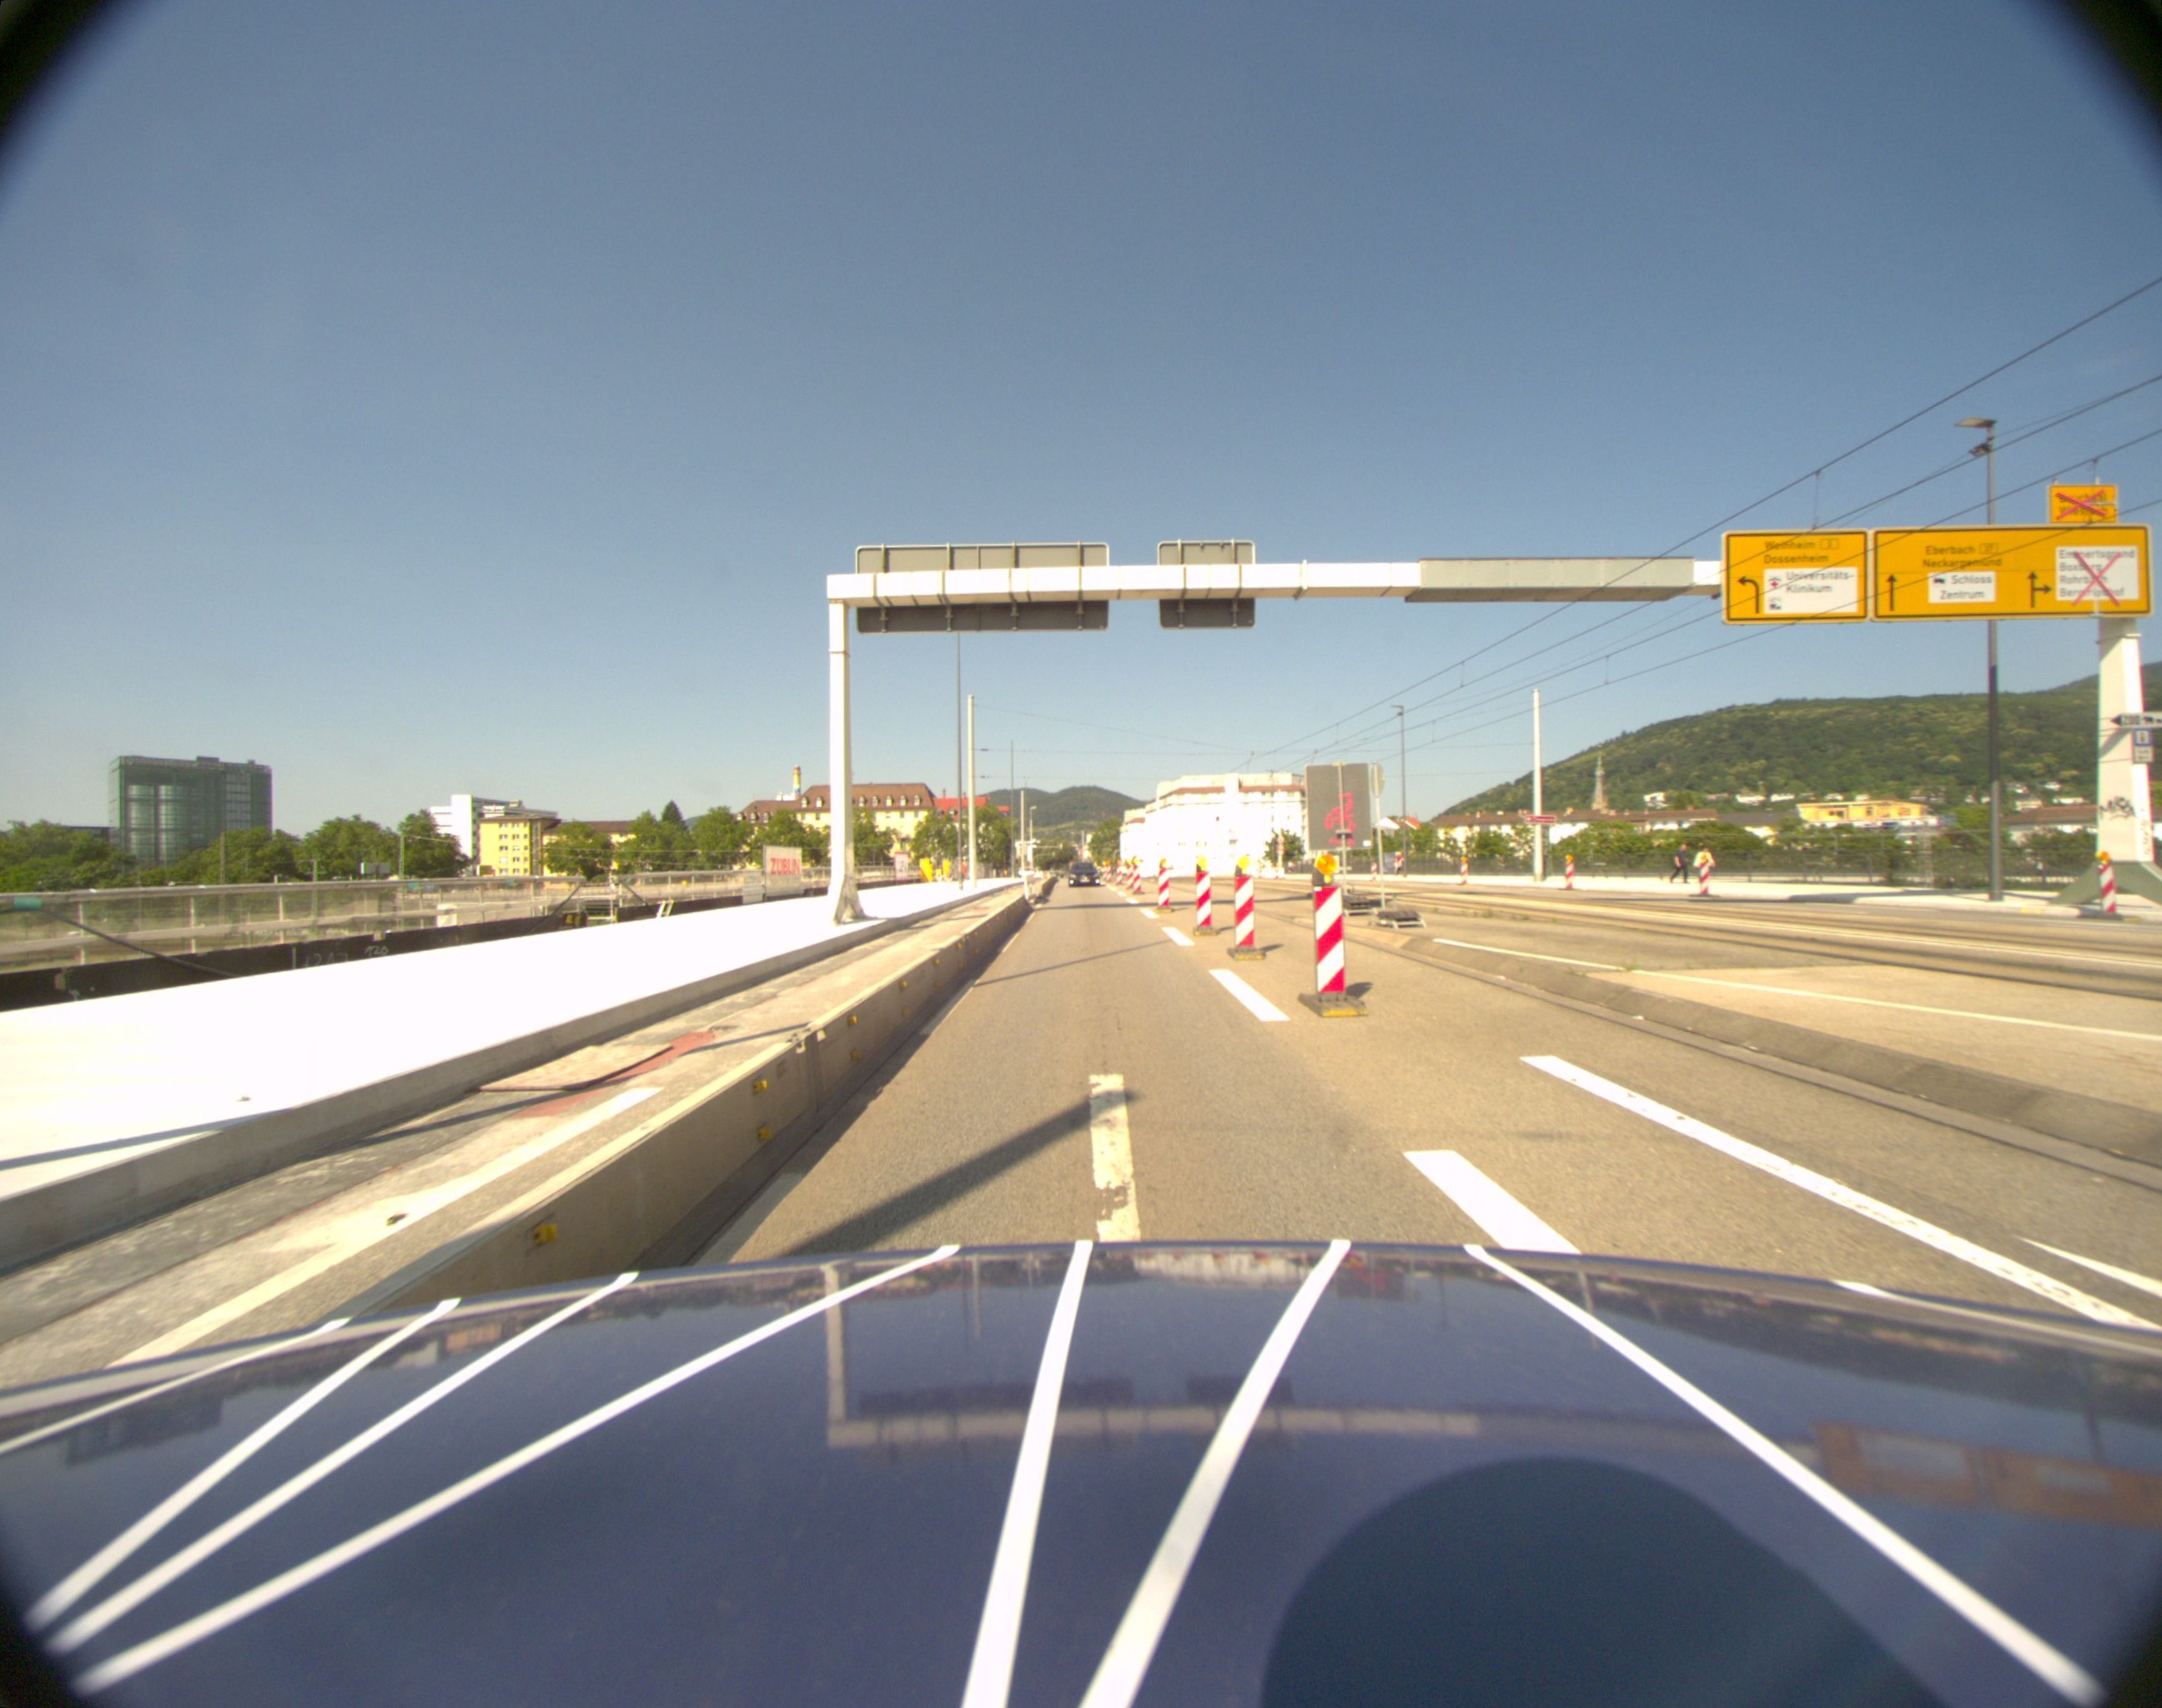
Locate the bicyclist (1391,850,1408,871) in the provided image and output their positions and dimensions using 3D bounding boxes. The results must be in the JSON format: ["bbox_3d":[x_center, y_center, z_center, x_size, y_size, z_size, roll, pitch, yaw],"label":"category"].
[{"bbox_3d":[23.915,0.513,57.085,0.858,1.510,0.817,-2,0,-2],"label":"bicyclist"}]

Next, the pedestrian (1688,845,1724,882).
[{"bbox_3d":[26.787,0.401,32.564,0.721,1.535,0.889,-3,0,-1],"label":"pedestrian"}]

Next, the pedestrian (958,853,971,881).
[{"bbox_3d":[-8.084,0.900,52.765,0.733,1.953,1.016,0,0,-1],"label":"pedestrian"}]

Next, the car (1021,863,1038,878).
[{"bbox_3d":[-7.631,2.506,112.434,1.938,2.077,6.472,-1,-2,0],"label":"car"}]

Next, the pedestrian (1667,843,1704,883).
[{"bbox_3d":[25.892,0.378,32.555,0.745,1.632,0.895,-3,0,-1],"label":"pedestrian"}]

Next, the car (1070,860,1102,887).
[{"bbox_3d":[0.274,1.087,44.008,1.698,1.388,4.363,-3,0,0],"label":"car"}]

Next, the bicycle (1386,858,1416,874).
[{"bbox_3d":[23.940,0.888,56.947,0.858,1.187,3.072,-2,-1,-2],"label":"bicycle"}]
